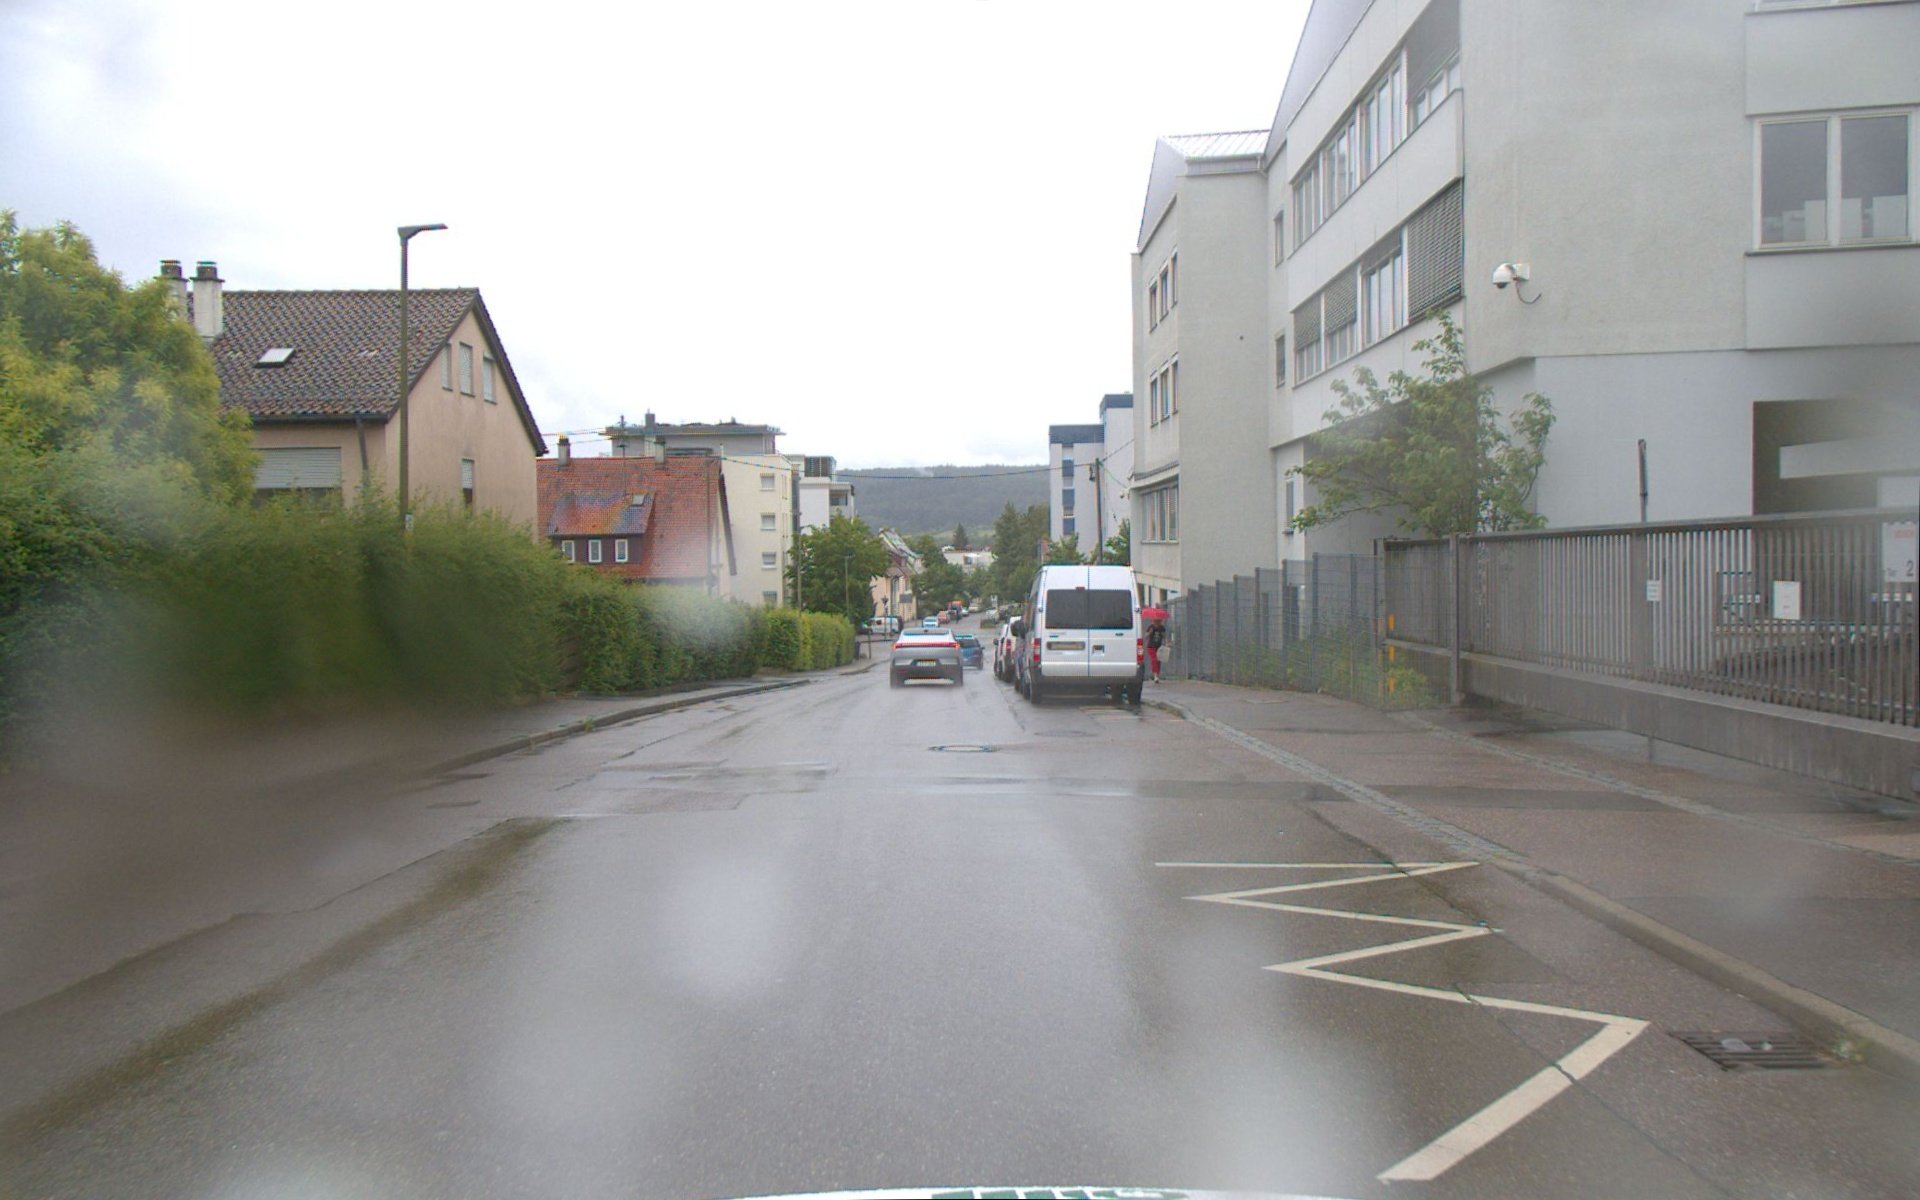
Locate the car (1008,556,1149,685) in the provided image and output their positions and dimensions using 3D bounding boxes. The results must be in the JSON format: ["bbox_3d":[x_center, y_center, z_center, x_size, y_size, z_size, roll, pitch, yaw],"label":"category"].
[{"bbox_3d":[2.017,0.359,29.304,1.954,2.049,3.998,-2,0,-3],"label":"car"}]

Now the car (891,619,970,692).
[{"bbox_3d":[-0.745,1.462,45.004,1.952,1.528,4.672,-1,3,1],"label":"car"}]
